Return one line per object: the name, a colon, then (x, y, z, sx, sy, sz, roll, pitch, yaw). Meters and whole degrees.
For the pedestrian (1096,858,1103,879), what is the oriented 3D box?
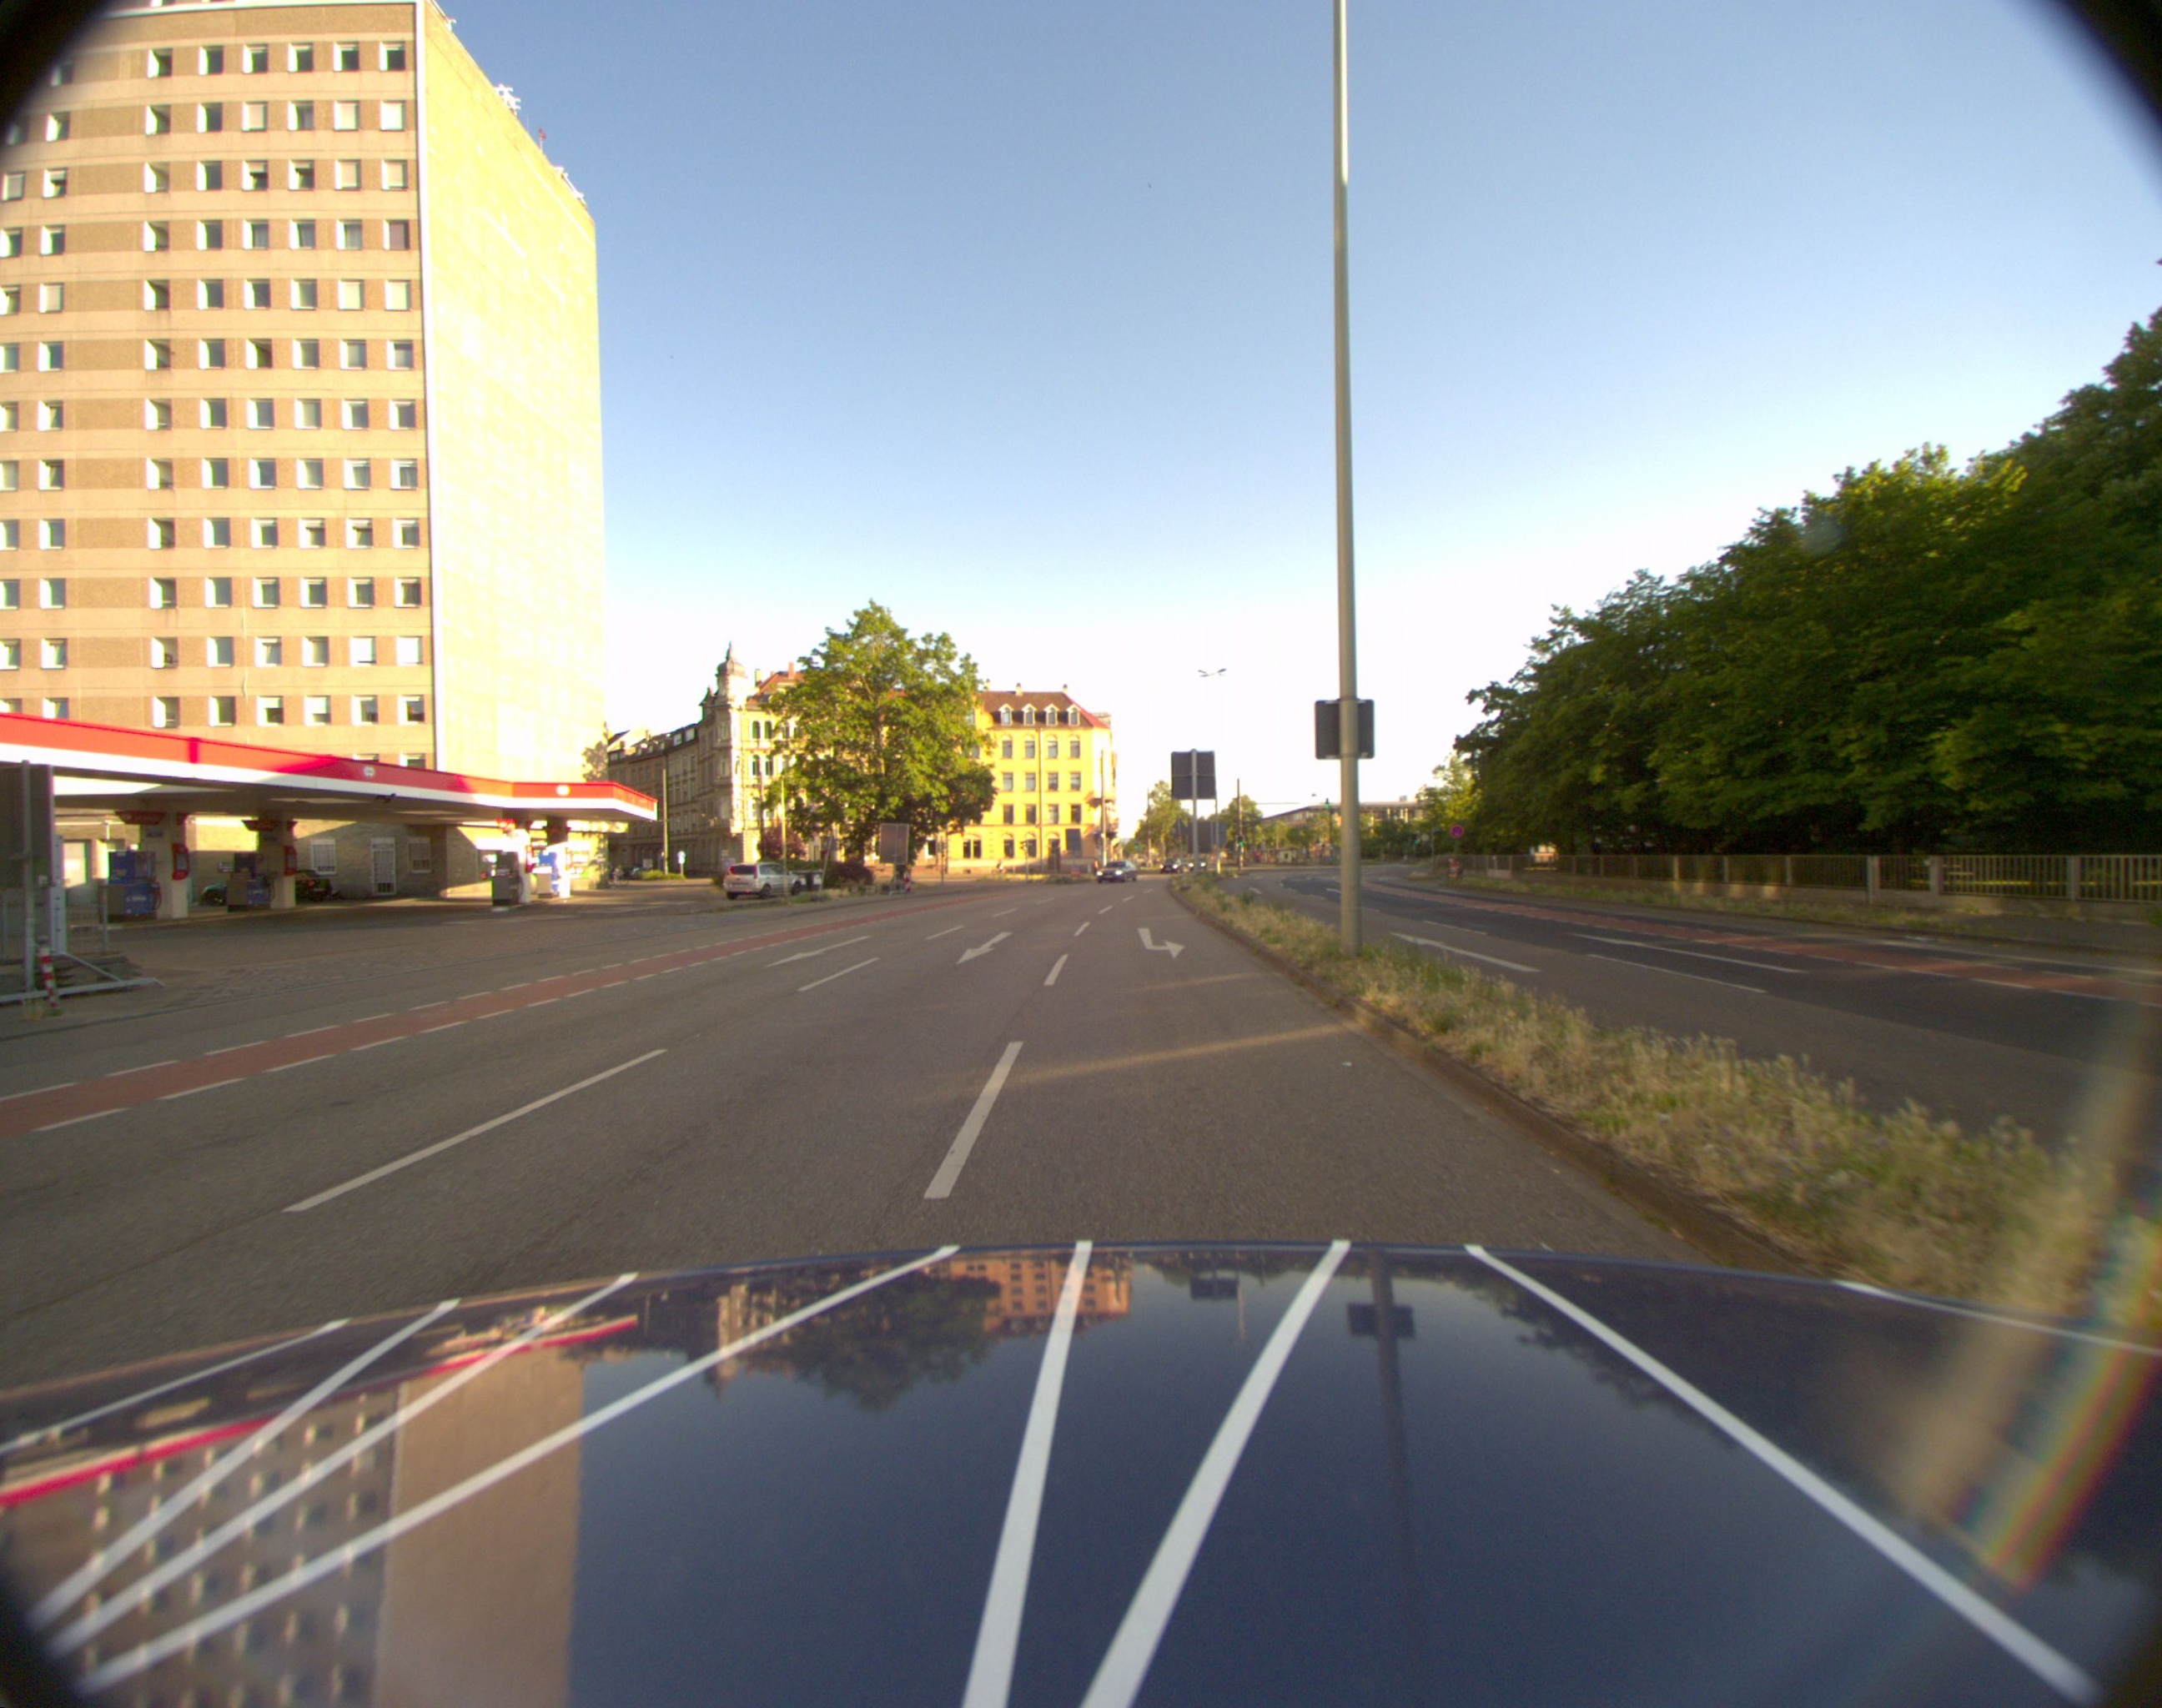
pedestrian: (1.541, 1.212, 63.305, 0.500, 1.693, 0.472, -1, 1, 7)

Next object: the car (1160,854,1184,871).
car: (8.433, 0.796, 70.434, 1.583, 1.440, 3.876, -2, 0, 15)

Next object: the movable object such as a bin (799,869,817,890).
movable object such as a bin: (-13.322, 1.248, 37.041, 0.544, 1.013, 0.688, -1, 1, 6)

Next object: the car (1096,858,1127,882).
car: (2.094, 1.023, 50.912, 1.819, 1.440, 4.668, -2, 0, 4)

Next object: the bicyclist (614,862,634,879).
bicyclist: (-36.991, 1.322, 61.508, 1.069, 1.357, 0.854, -3, 1, -4)

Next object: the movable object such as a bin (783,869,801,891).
movable object such as a bin: (-14.111, 1.259, 37.047, 0.544, 1.013, 0.688, -1, 1, 6)

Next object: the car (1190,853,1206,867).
car: (13.207, 0.625, 85.677, 1.730, 1.440, 4.049, -2, 0, 10)

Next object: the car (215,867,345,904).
car: (-35.244, 1.380, 33.511, 3.793, 1.508, 1.770, -1, 0, 0)

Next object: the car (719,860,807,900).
car: (-13.494, 1.060, 32.460, 1.687, 1.508, 3.798, -1, 1, 9)

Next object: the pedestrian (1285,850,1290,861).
pedestrian: (35.975, 0.287, 132.466, 0.556, 2.002, 0.664, -1, 1, 2)

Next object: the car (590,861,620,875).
car: (-58.995, 1.743, 94.104, 3.988, 1.677, 2.004, -1, 0, 41)

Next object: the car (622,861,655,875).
car: (-48.681, 1.555, 83.512, 3.988, 1.524, 2.004, -1, 0, 42)

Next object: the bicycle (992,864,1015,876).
bicycle: (-6.573, 1.359, 64.738, 1.927, 1.053, 0.451, -1, 1, -6)

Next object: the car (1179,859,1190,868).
car: (18.896, 1.759, 138.695, 1.673, 1.410, 4.444, -2, 0, 10)

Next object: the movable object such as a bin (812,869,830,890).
movable object such as a bin: (-12.599, 1.231, 36.784, 0.544, 1.013, 0.688, -1, 1, 6)

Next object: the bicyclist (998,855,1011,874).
bicyclist: (-6.548, 0.904, 64.850, 1.065, 1.639, 0.732, -1, 1, -6)

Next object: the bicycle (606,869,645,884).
bicycle: (-36.856, 1.848, 61.488, 2.621, 1.063, 0.784, -3, 1, -4)
